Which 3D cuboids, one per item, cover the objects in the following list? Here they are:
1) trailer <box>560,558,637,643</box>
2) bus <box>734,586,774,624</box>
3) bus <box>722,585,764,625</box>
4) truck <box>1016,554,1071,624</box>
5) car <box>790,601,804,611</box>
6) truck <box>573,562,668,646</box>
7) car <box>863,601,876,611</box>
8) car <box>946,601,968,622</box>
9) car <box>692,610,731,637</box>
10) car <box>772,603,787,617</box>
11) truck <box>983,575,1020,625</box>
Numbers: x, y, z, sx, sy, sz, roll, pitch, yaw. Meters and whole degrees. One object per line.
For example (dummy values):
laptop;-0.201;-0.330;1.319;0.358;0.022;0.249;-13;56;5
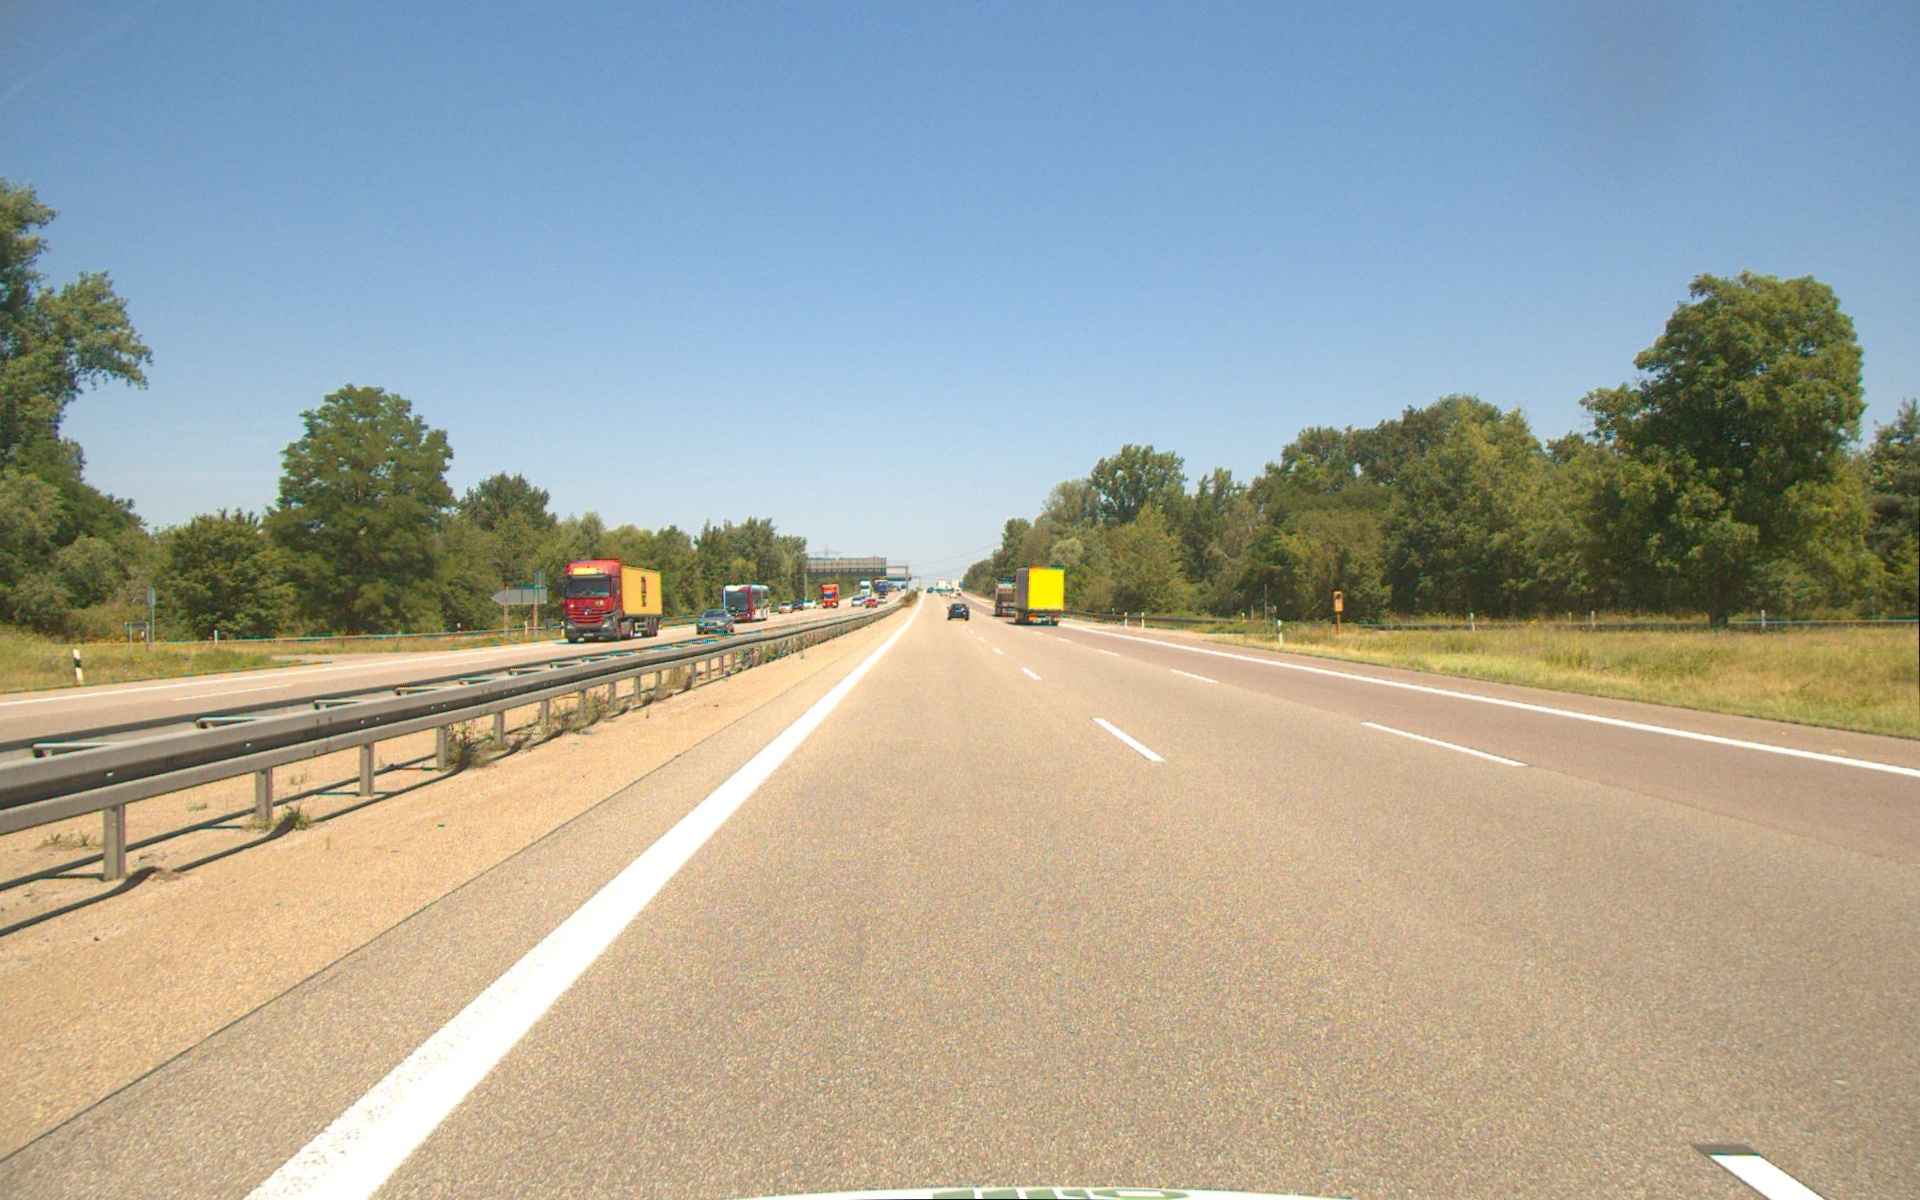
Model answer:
trailer;-18.137;0.020;83.365;2.550;4.061;6.028;1;0;-1
bus;-19.963;0.465;160.776;2.707;3.507;10.143;-1;0;-1
bus;-19.802;0.439;151.215;2.707;3.507;8.930;-1;0;-1
truck;6.168;-0.761;124.804;3.308;4.966;15.084;1;0;0
car;-25.198;0.880;256.235;1.772;1.530;3.999;-1;0;-1
truck;-18.308;0.222;90.111;2.547;4.118;12.689;-3;0;-1
car;-14.089;0.933;257.434;1.772;1.530;3.999;-1;0;-1
car;-0.273;0.961;141.306;1.790;1.736;3.999;1;0;-1
car;-14.552;1.378;97.205;1.686;1.404;4.784;-4;-1;-2
car;-25.037;1.397;229.419;1.772;1.803;3.999;-1;0;-1
truck;4.276;0.036;173.338;3.298;4.966;15.084;1;0;0
